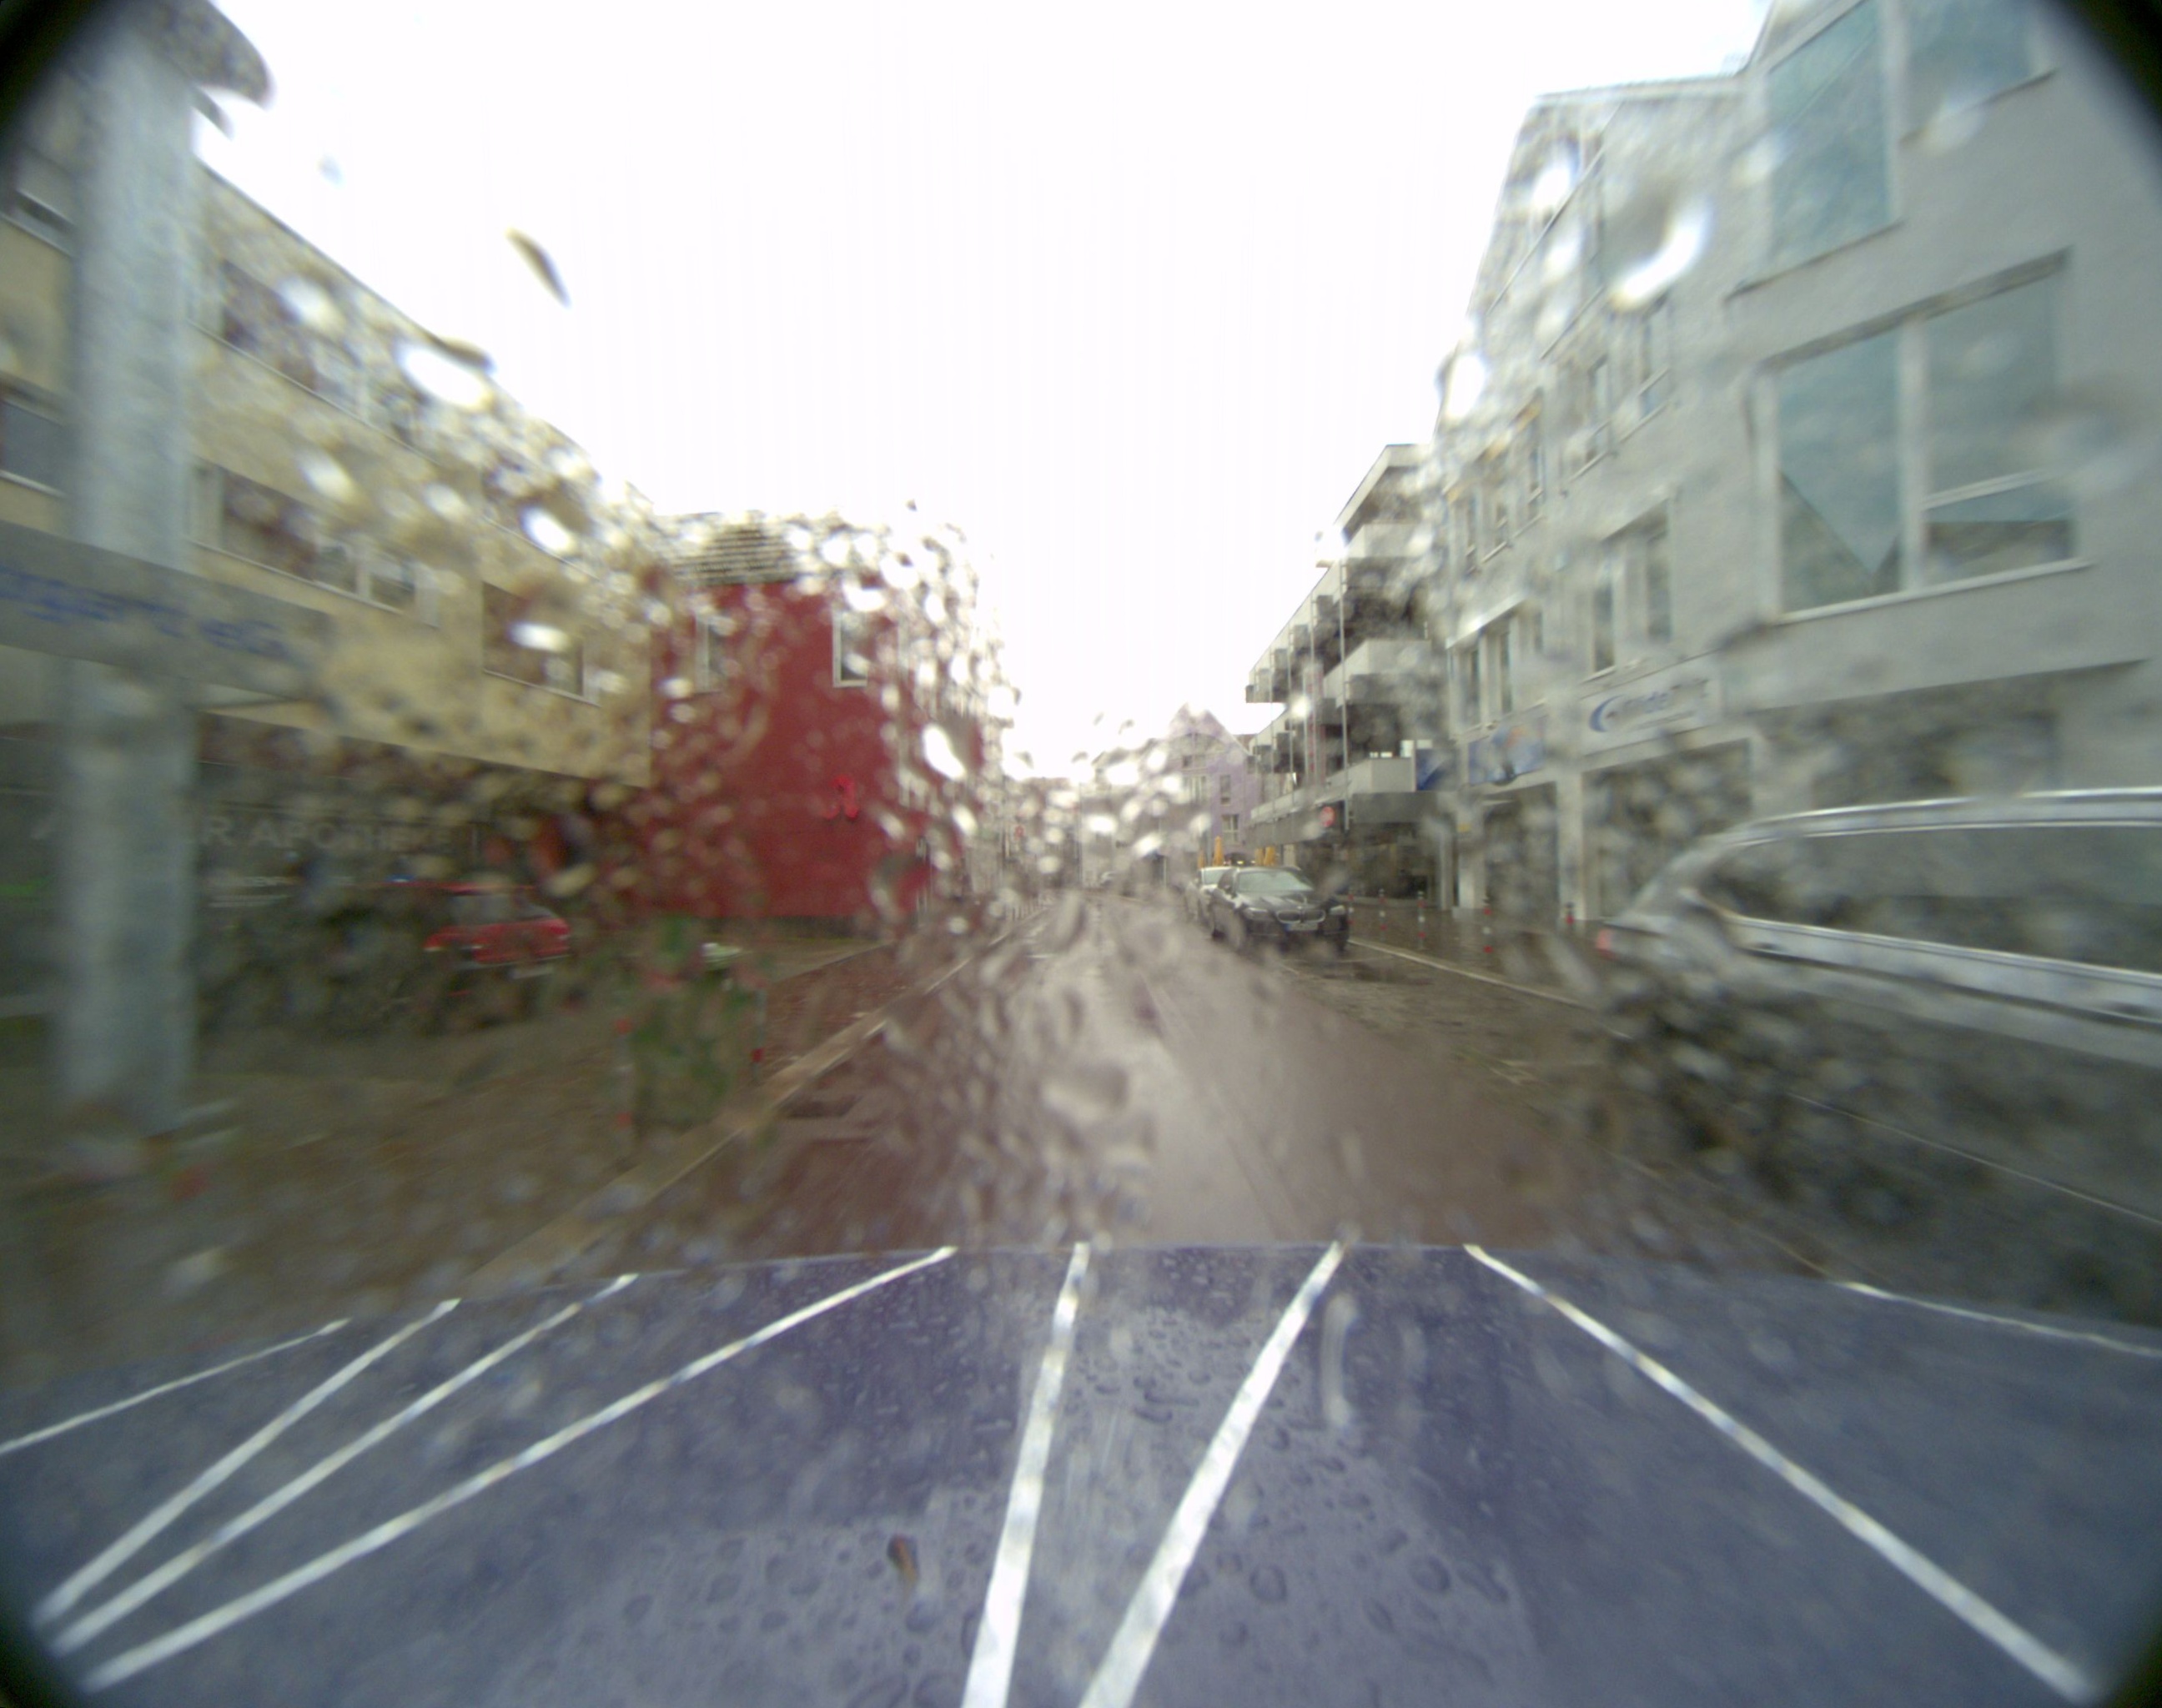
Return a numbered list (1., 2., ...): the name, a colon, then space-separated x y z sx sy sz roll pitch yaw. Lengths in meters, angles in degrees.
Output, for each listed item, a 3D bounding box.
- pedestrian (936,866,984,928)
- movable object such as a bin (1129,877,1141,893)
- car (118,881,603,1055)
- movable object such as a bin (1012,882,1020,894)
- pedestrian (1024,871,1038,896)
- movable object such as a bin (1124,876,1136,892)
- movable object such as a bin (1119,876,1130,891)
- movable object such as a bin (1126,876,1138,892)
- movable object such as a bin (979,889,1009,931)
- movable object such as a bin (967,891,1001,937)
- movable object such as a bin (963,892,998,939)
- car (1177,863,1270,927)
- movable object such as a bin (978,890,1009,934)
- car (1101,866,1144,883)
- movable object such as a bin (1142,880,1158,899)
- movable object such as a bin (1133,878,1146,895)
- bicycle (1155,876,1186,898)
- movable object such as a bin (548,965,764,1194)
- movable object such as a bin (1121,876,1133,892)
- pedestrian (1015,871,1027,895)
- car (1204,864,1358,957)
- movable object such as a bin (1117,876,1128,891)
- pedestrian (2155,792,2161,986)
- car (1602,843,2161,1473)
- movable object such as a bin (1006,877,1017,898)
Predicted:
1. pedestrian: -3.406 1.187 21.473 1.180 1.687 1.177 0 0 -2
2. movable object such as a bin: 3.651 2.109 51.427 0.688 1.067 0.669 -1 -1 -8
3. car: -7.768 1.108 8.377 3.993 1.505 1.913 0 0 11
4. movable object such as a bin: -4.675 2.463 54.386 0.547 0.831 0.909 1 -1 -5
5. pedestrian: -4.022 2.361 61.101 0.775 1.893 0.803 -2 1 -25
6. movable object such as a bin: 3.449 2.104 53.284 0.688 1.099 0.669 -1 -1 -8
7. movable object such as a bin: 3.147 2.150 55.301 0.688 1.080 0.712 -1 -1 -8
8. movable object such as a bin: 3.555 2.087 52.563 0.688 1.099 0.669 -1 -1 -8
9. movable object such as a bin: -2.316 1.497 20.363 0.678 1.080 0.718 -1 0 2
10. movable object such as a bin: -2.407 1.477 18.876 0.712 1.088 0.614 -1 0 2
11. movable object such as a bin: -2.405 1.475 18.233 0.731 1.075 0.646 -1 0 2
12. car: 3.807 1.083 21.005 1.796 1.541 4.001 -2 -1 0
13. movable object such as a bin: -2.258 1.485 19.584 0.678 1.078 0.698 -1 0 2
14. car: 4.014 1.960 72.914 3.993 1.574 1.834 -1 1 8
15. movable object such as a bin: 3.902 1.979 42.802 0.689 1.014 0.631 -1 -1 -17
16. movable object such as a bin: 3.811 2.129 49.513 0.688 1.070 0.669 -1 -1 -8
17. bicycle: 5.166 1.895 43.706 1.753 1.158 0.443 -1 1 -19
18. movable object such as a bin: -2.539 1.317 4.653 0.806 1.124 0.862 -1 1 -1
19. movable object such as a bin: 3.274 2.131 54.393 0.688 1.074 0.669 -1 -1 -8
20. pedestrian: -4.823 2.354 61.074 0.656 1.891 0.657 1 0 -25
21. car: 3.592 0.951 14.566 1.835 1.489 4.765 0 -1 2
22. movable object such as a bin: 3.041 2.167 56.042 0.688 1.071 0.677 -1 -1 -8
23. pedestrian: 5.093 0.614 2.656 1.038 1.795 1.116 -2 0 1
24. car: 3.605 0.767 1.709 1.784 1.559 4.407 -1 1 -1
25. movable object such as a bin: -3.572 1.736 38.980 0.502 1.050 0.548 1 1 0
